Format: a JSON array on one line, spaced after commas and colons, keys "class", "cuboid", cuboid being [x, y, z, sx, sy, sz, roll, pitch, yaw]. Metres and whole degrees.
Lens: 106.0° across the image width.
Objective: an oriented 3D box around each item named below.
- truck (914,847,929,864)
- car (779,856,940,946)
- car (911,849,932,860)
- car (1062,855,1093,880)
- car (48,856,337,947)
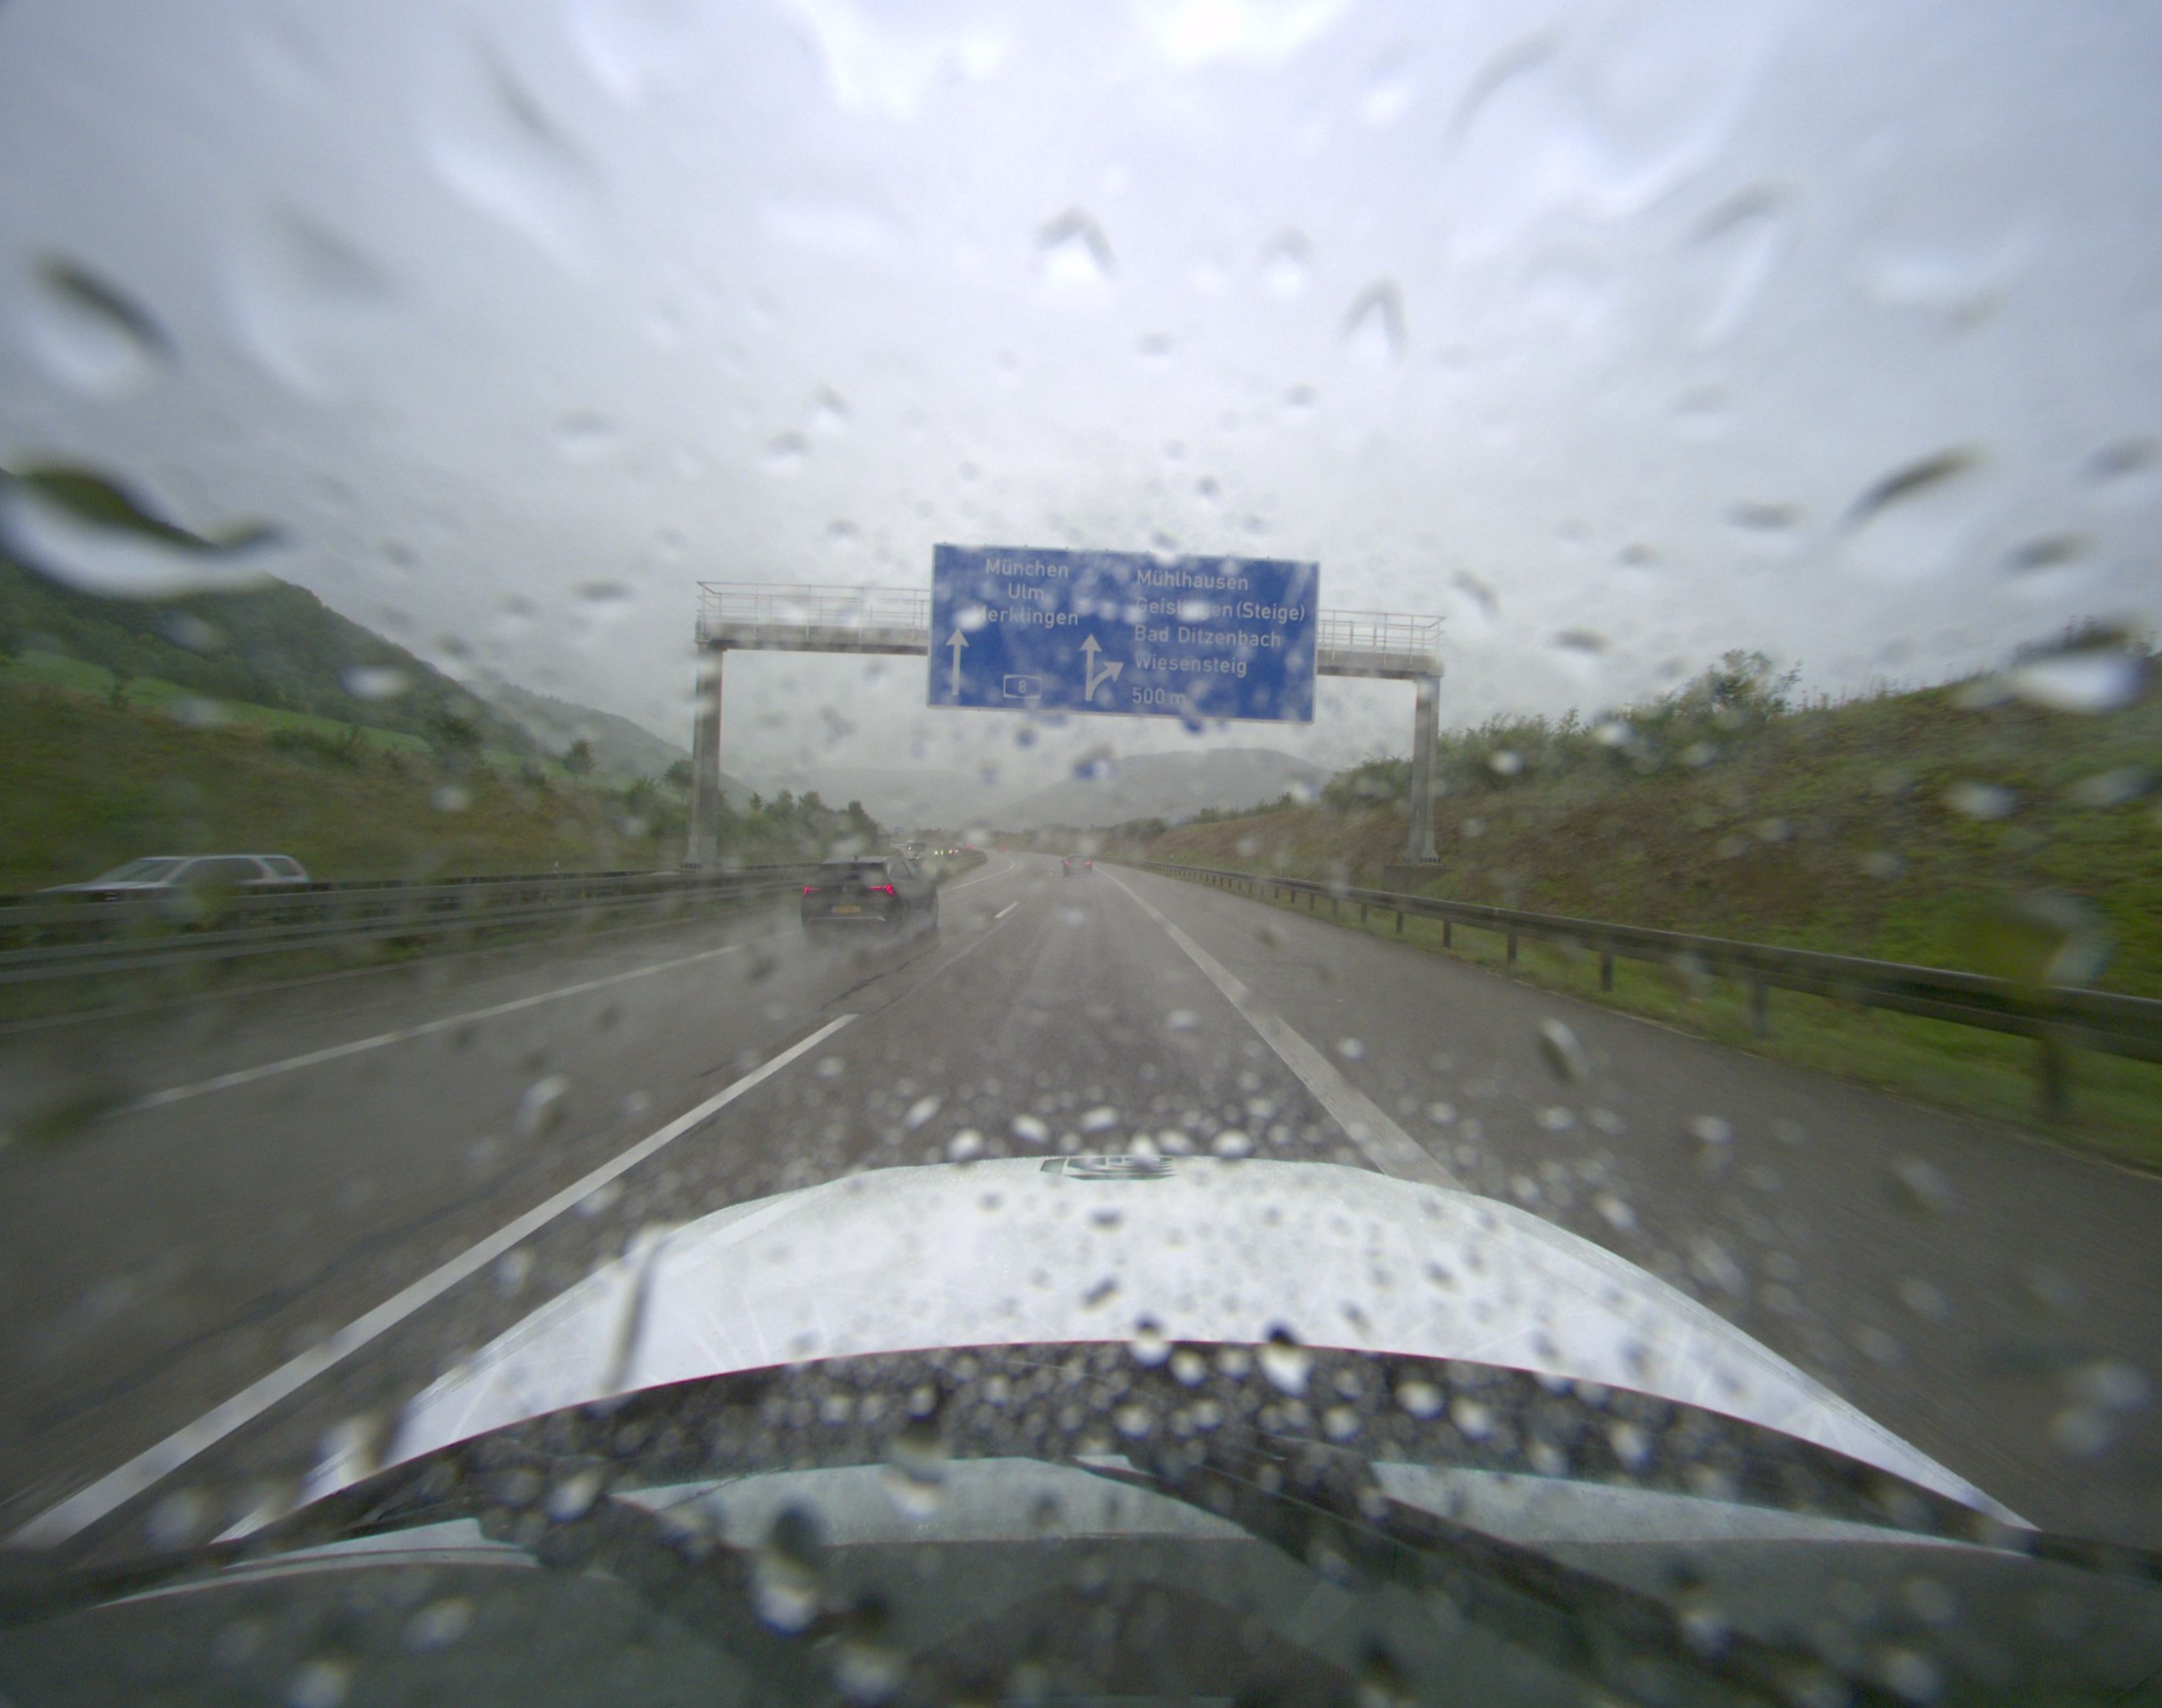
[{"class": "truck", "cuboid": [-34.106, 0.272, 174.204, 2.713, 3.542, 5.297, -1, 0, -7]}, {"class": "car", "cuboid": [-4.170, 0.808, 16.276, 2.404, 1.515, 4.772, 1, 0, -7]}, {"class": "car", "cuboid": [-21.549, 0.071, 110.067, 1.986, 1.519, 4.000, 1, 0, 1]}, {"class": "car", "cuboid": [-0.203, 0.834, 50.960, 1.672, 1.472, 3.817, 1, 0, 3]}, {"class": "car", "cuboid": [-18.692, 0.909, 17.456, 1.770, 1.692, 4.000, 0, 0, 1]}]
